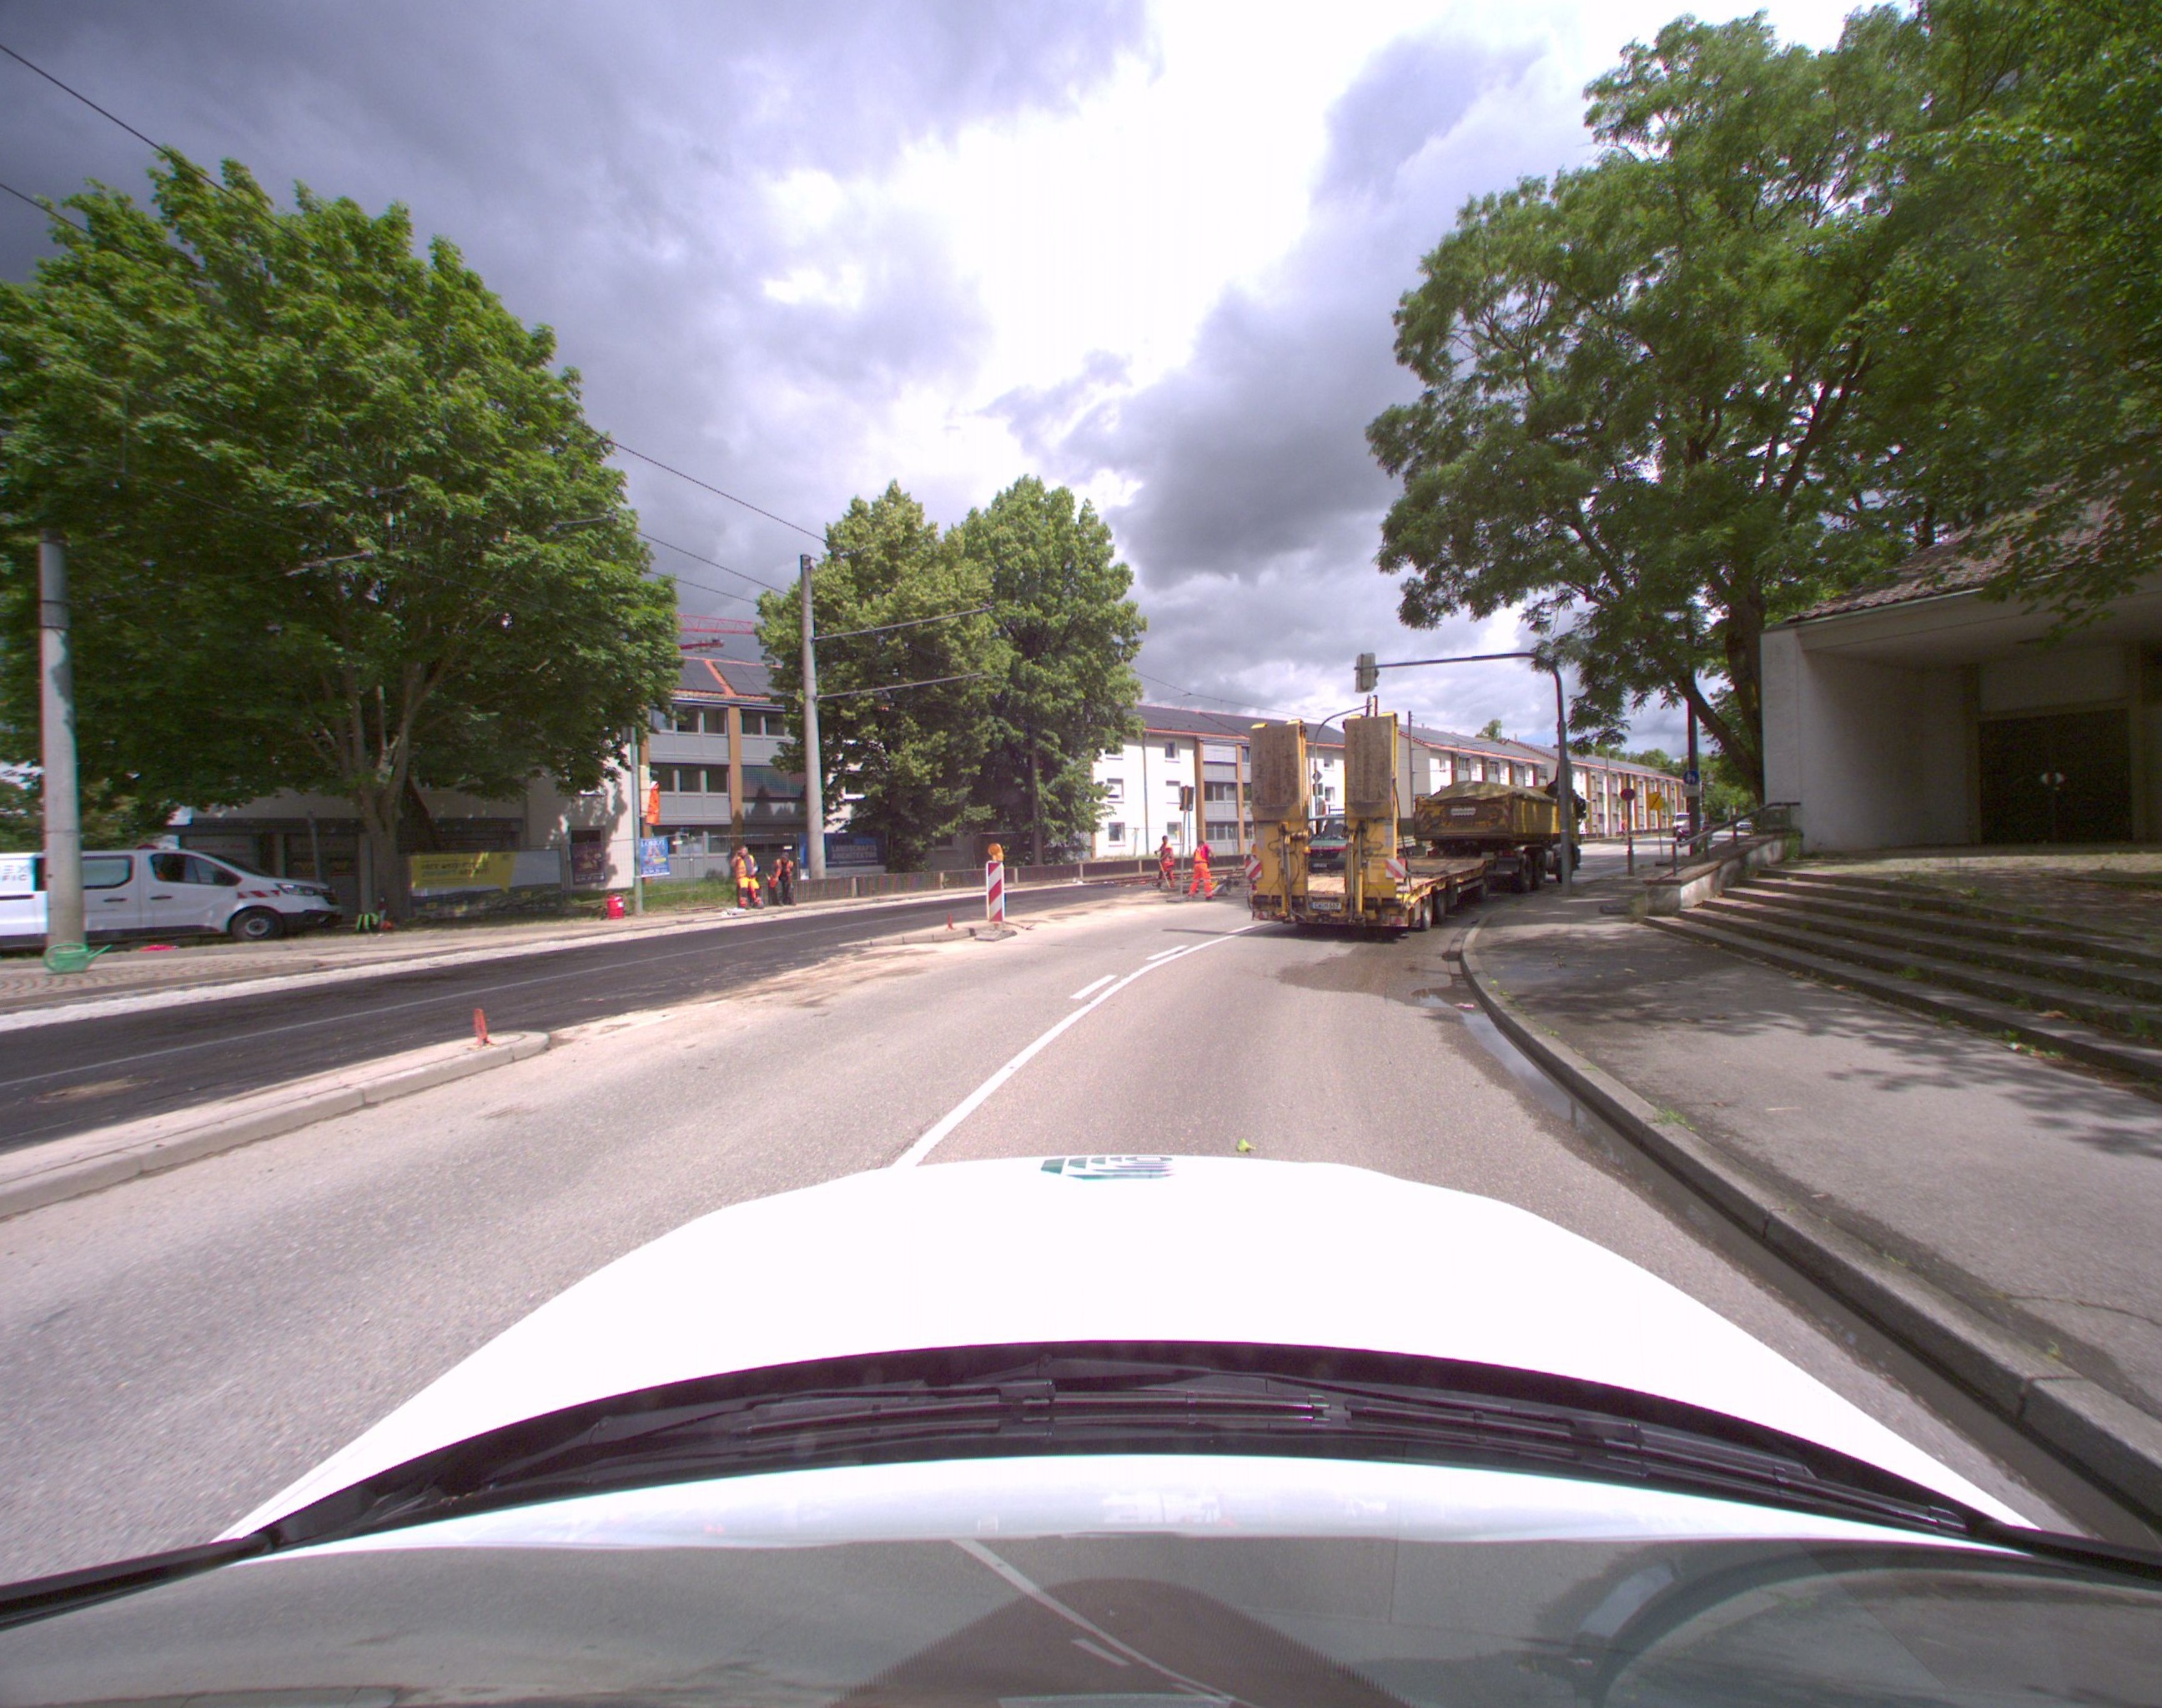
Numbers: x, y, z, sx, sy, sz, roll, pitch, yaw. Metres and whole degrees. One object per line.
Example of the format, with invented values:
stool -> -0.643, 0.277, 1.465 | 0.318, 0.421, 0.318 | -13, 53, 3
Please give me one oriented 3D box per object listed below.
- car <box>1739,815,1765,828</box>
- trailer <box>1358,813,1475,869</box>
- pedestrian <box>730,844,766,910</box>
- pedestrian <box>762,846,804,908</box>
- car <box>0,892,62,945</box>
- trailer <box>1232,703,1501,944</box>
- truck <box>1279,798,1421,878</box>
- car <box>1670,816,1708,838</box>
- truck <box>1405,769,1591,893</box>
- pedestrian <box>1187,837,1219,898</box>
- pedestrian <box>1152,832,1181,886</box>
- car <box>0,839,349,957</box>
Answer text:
car -> 81.266, -3.942, 98.587 | 4.555, 1.481, 1.862 | -3, -1, -44
trailer -> 14.798, -0.630, 35.677 | 2.637, 2.213, 6.286 | 1, 2, 43
pedestrian -> -8.242, 0.555, 20.139 | 0.763, 1.541, 0.792 | -2, 0, -24
pedestrian -> -7.657, 0.581, 20.919 | 0.909, 1.533, 0.835 | -2, 0, -24
car -> -32.626, 1.958, 24.223 | 1.785, 1.459, 3.835 | -3, 0, -34
trailer -> 6.719, -0.608, 17.363 | 2.795, 3.523, 11.123 | 1, 2, 33
truck -> 10.399, -0.660, 31.103 | 2.637, 2.724, 6.435 | 1, 2, 43
car -> 48.502, -2.152, 64.901 | 1.825, 1.618, 4.267 | -2, 0, 45
truck -> 12.822, -0.739, 24.635 | 2.890, 3.166, 7.727 | 1, 3, 44
pedestrian -> 3.219, 0.339, 21.510 | 0.759, 1.551, 0.902 | -1, 1, 5
pedestrian -> 2.697, 0.153, 25.689 | 0.698, 1.668, 0.832 | -1, -1, 22
car -> -17.808, 0.801, 15.618 | 5.270, 1.887, 1.979 | -3, -1, -33
